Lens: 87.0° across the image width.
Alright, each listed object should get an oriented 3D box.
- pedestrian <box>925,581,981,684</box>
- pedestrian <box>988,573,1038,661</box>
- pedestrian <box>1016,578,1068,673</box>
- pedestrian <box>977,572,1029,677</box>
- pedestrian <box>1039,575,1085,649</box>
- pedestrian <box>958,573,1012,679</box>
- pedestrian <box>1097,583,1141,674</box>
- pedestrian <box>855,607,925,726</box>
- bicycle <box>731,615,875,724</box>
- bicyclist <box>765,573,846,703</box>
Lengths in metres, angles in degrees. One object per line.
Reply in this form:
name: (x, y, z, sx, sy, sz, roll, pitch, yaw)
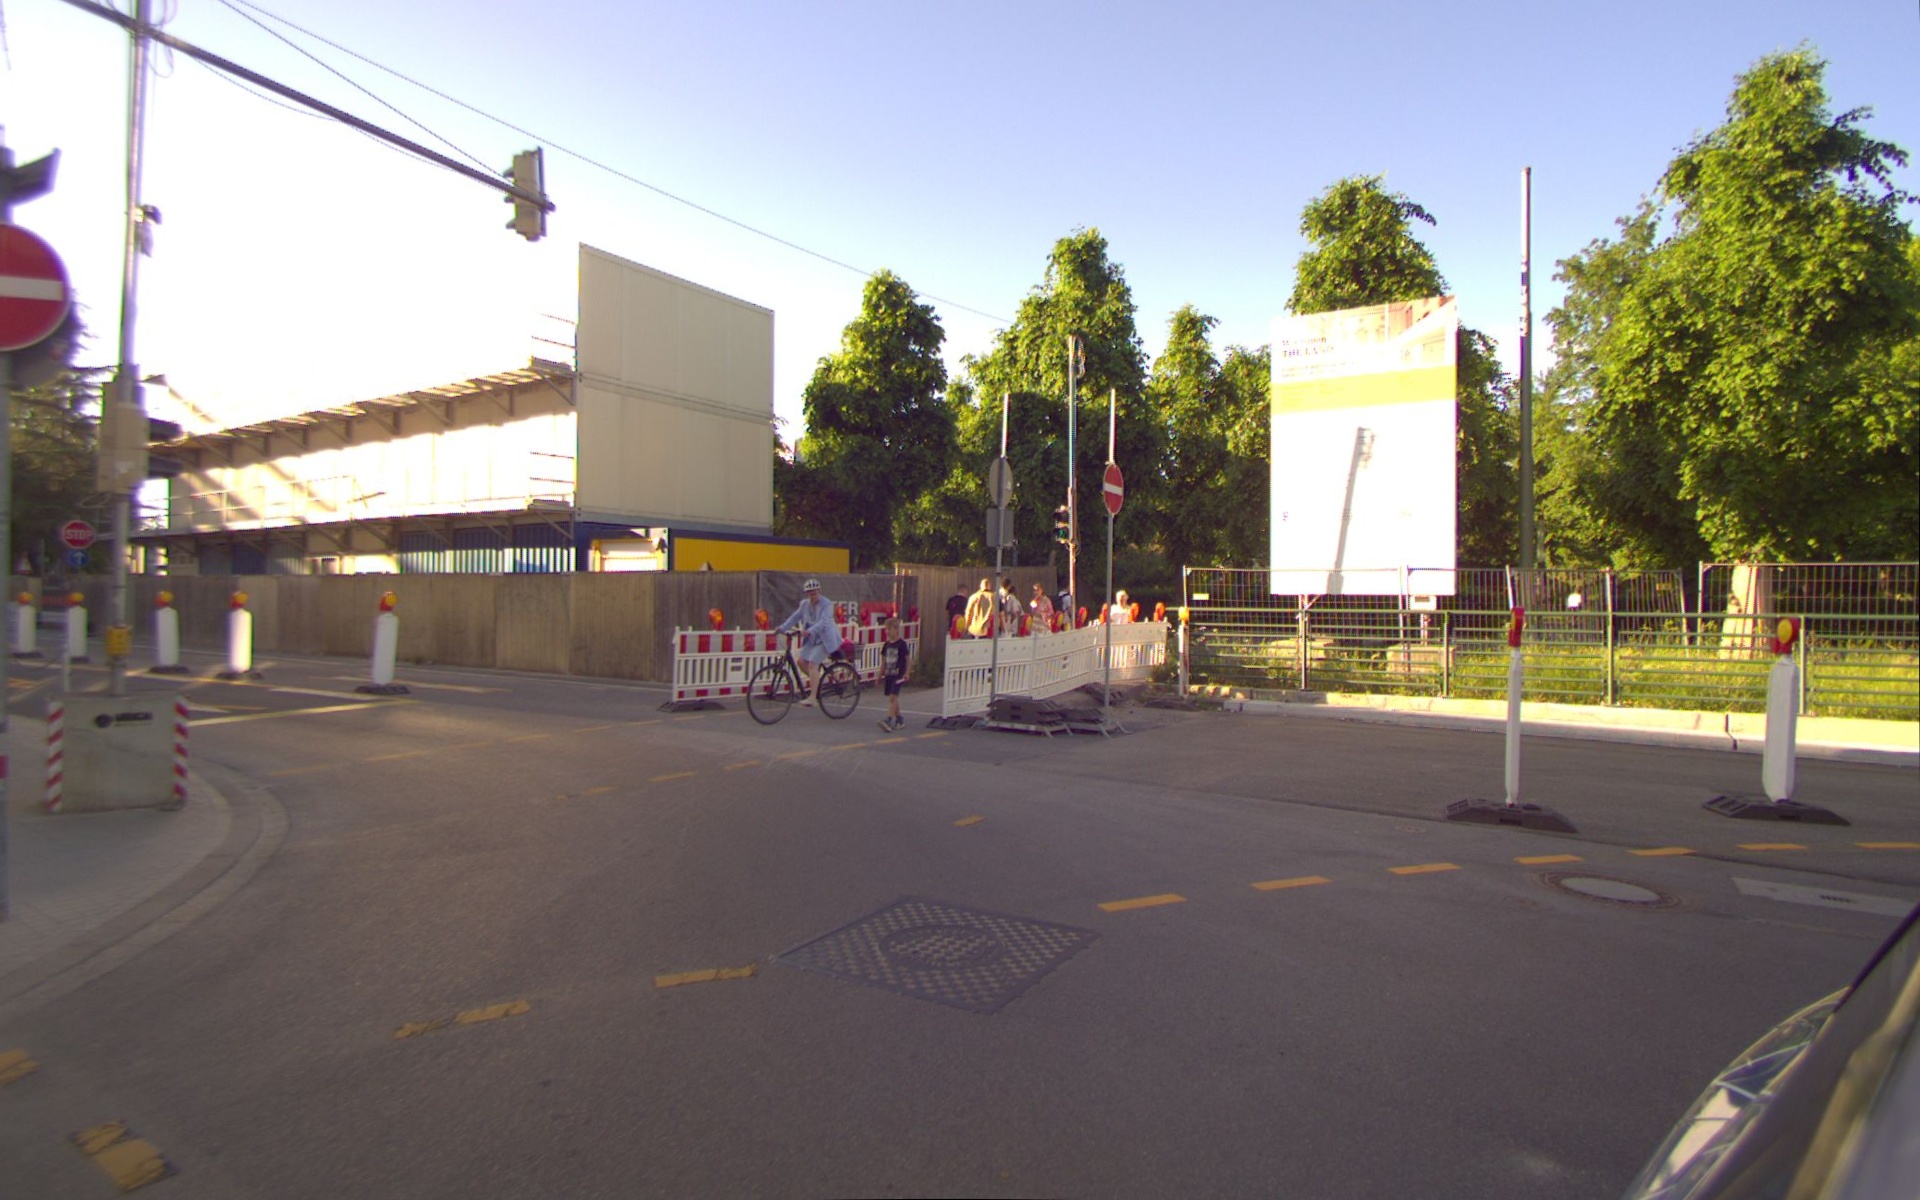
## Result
pedestrian: (-0.122, 0.554, 18.292, 0.719, 1.793, 0.730, 1, 2, 34)
pedestrian: (1.020, 0.301, 19.469, 0.661, 1.639, 0.761, 1, 2, 34)
pedestrian: (1.459, 0.425, 17.974, 0.639, 1.624, 0.730, 1, 2, 34)
pedestrian: (0.768, 0.412, 17.917, 0.617, 1.793, 0.730, 1, 2, 34)
pedestrian: (2.127, 0.234, 20.980, 0.661, 1.480, 0.761, 1, 2, 34)
pedestrian: (0.421, 0.418, 17.116, 0.617, 1.737, 0.730, 1, 2, 34)
pedestrian: (2.838, 0.493, 18.107, 0.653, 1.585, 0.745, 0, 1, 1)
pedestrian: (-0.810, 0.763, 11.767, 0.490, 1.316, 0.612, 1, -2, 34)
bicycle: (-1.886, 0.806, 12.451, 0.474, 1.216, 1.972, 0, 0, 37)
bicyclist: (-1.901, 0.444, 12.449, 0.682, 1.535, 0.694, 1, 0, 37)
